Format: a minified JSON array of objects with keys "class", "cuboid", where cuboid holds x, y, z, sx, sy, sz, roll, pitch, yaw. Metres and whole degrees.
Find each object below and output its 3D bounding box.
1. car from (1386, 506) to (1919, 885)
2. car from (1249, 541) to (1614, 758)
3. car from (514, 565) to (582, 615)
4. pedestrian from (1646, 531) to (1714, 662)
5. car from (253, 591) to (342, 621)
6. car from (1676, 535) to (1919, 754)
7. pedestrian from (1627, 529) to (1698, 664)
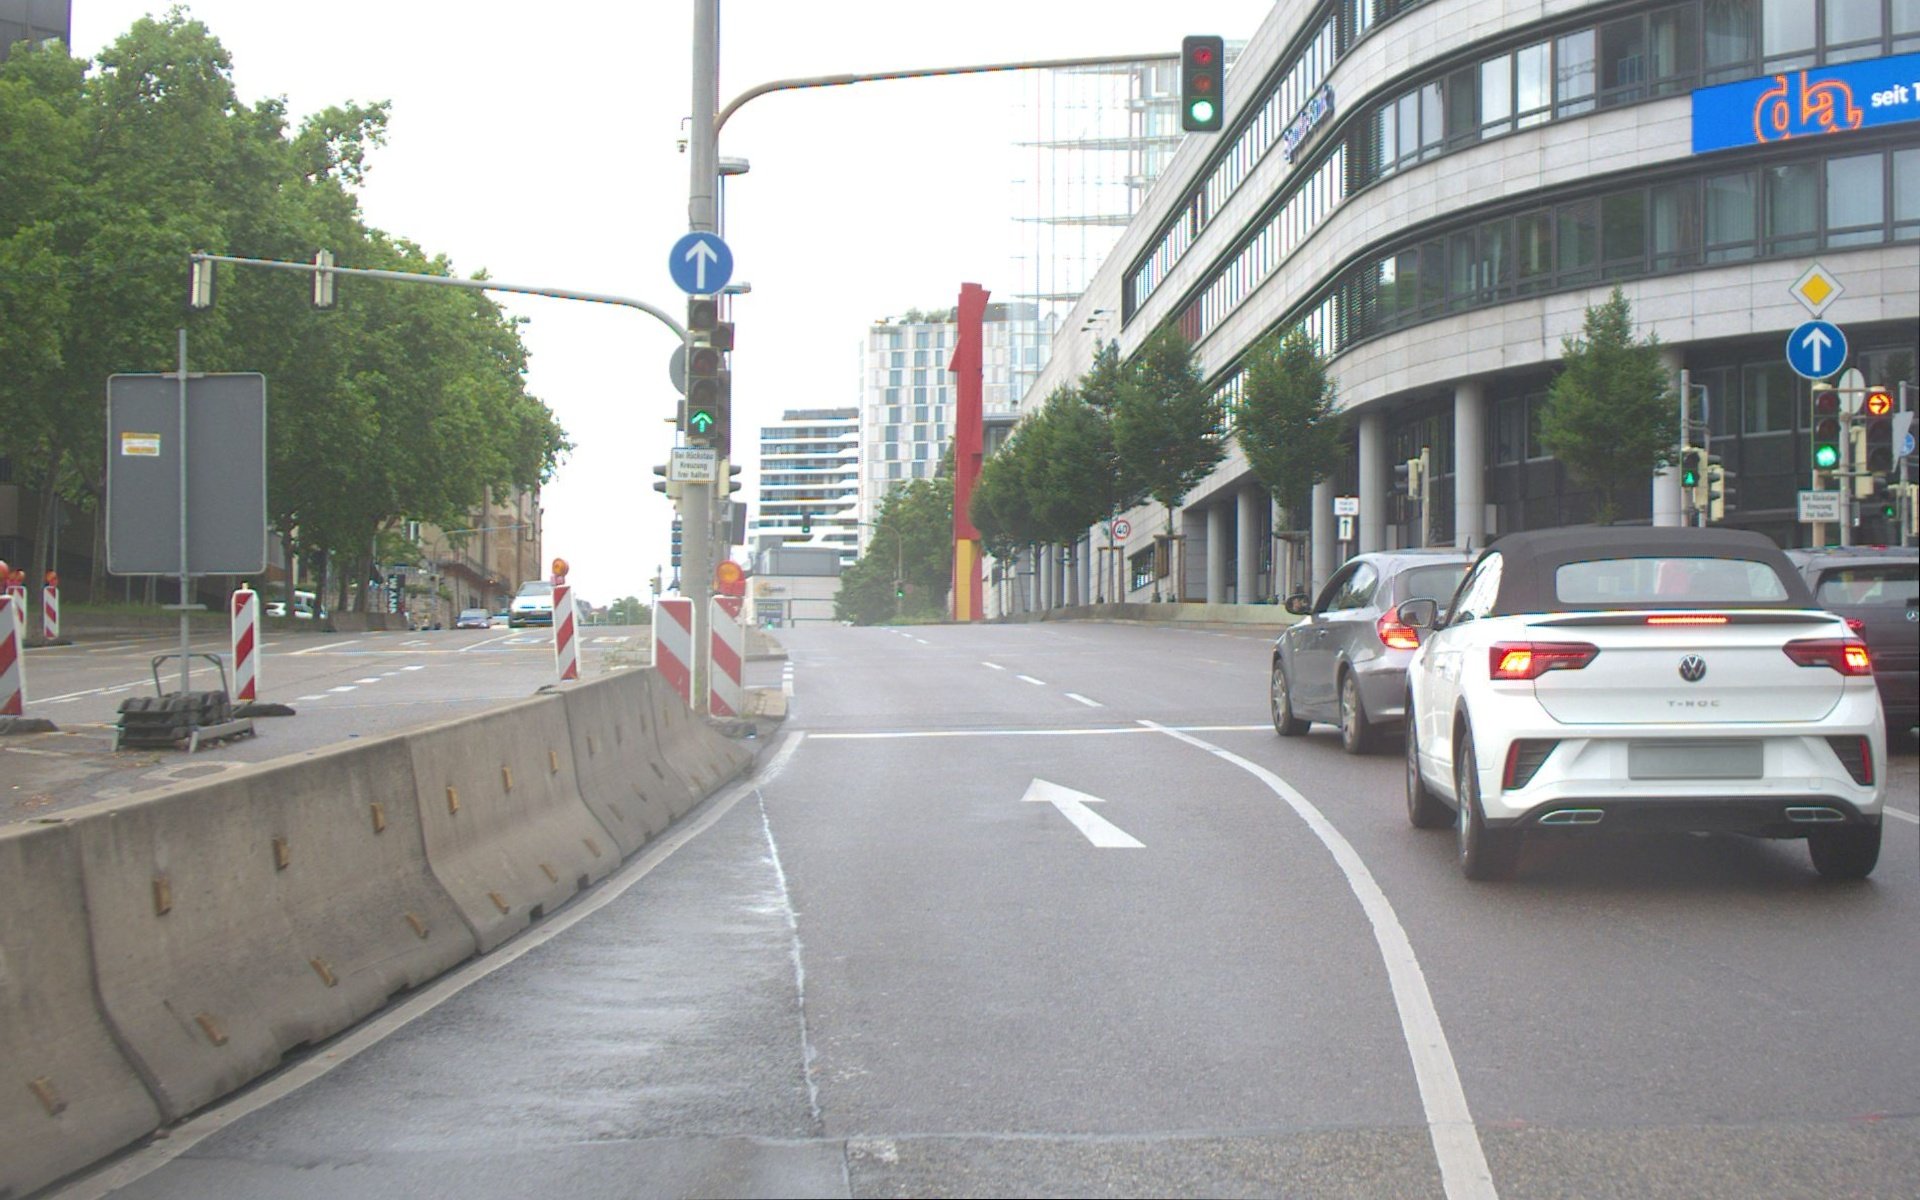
[{"class":"car","cuboid":[3.149,0.366,16.185,1.964,1.543,4.218,0,1,3]},{"class":"car","cuboid":[3.311,0.317,24.882,1.739,1.438,4.001,0,0,-5]},{"class":"car","cuboid":[-12.560,-0.332,104.931,1.761,1.455,4.360,-1,1,-3]},{"class":"pedestrian","cuboid":[10.490,-0.048,50.086,0.841,1.898,0.731,0,-1,23]},{"class":"car","cuboid":[-34.951,0.321,181.434,1.823,1.506,4.568,-3,-2,35]},{"class":"car","cuboid":[6.338,0.325,24.461,1.755,1.402,4.227,2,-1,3]},{"class":"pedestrian","cuboid":[10.057,-0.042,49.224,0.841,1.898,0.860,0,-2,23]}]
